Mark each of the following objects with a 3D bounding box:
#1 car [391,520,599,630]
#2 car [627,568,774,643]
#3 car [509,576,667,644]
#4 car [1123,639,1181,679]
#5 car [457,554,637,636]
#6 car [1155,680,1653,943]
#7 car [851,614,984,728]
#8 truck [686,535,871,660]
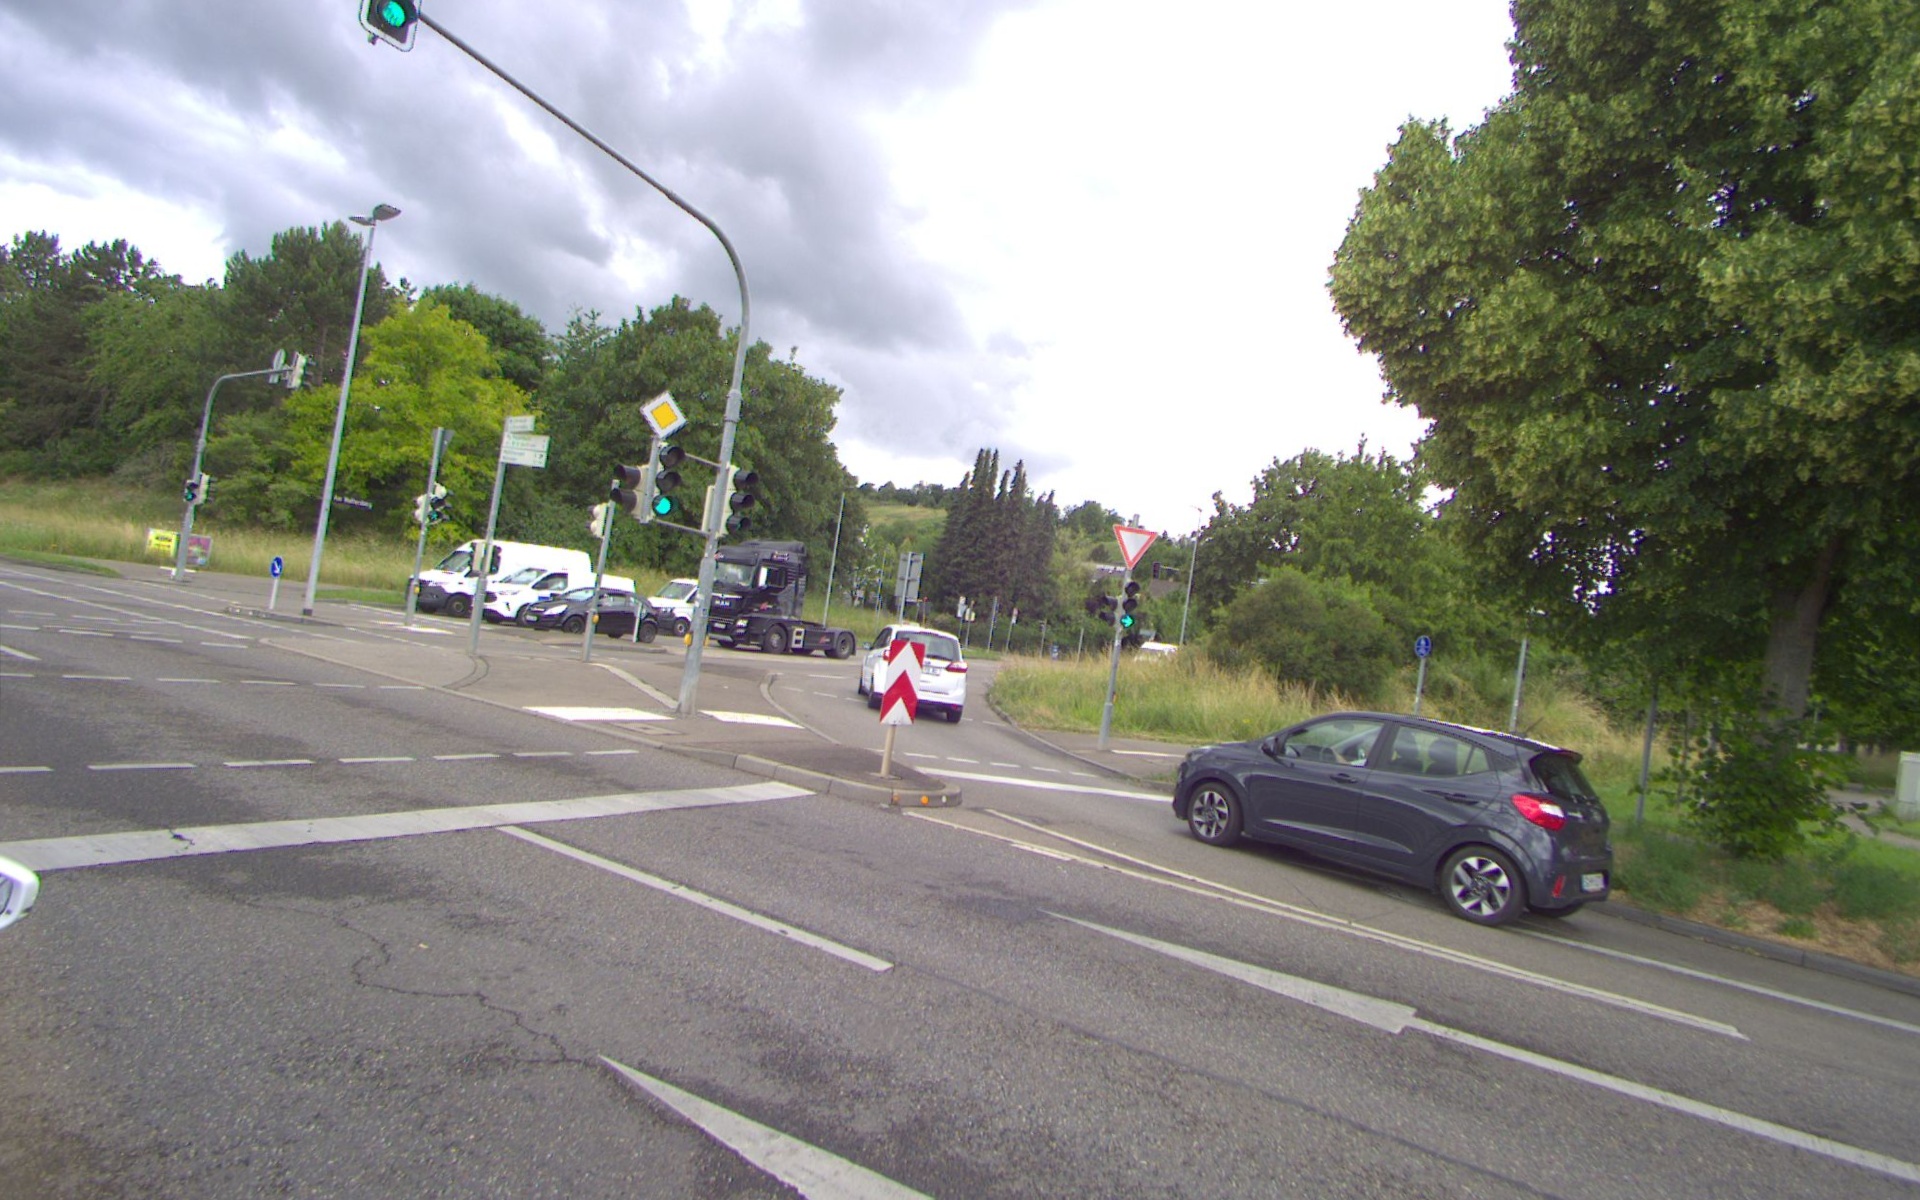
[{"bbox_3d":[-15.331,-0.734,33.600,2.100,2.814,5.903,7,-1,32],"label":"car"},{"bbox_3d":[-10.421,0.291,40.907,2.100,2.316,5.709,7,-1,32],"label":"car"},{"bbox_3d":[-10.601,0.337,28.932,1.703,1.453,3.927,7,-1,31],"label":"car"},{"bbox_3d":[15.456,4.779,80.614,2.160,2.640,6.509,7,-1,32],"label":"car"},{"bbox_3d":[-12.928,-0.093,31.818,1.999,1.918,4.862,7,-1,31],"label":"car"},{"bbox_3d":[3.740,1.726,8.929,1.616,1.445,3.575,13,-5,-40],"label":"car"},{"bbox_3d":[-0.983,1.313,20.223,1.756,1.613,4.448,10,0,-11],"label":"car"},{"bbox_3d":[-6.207,0.026,35.343,2.682,3.580,6.061,7,-1,32],"label":"truck"}]
